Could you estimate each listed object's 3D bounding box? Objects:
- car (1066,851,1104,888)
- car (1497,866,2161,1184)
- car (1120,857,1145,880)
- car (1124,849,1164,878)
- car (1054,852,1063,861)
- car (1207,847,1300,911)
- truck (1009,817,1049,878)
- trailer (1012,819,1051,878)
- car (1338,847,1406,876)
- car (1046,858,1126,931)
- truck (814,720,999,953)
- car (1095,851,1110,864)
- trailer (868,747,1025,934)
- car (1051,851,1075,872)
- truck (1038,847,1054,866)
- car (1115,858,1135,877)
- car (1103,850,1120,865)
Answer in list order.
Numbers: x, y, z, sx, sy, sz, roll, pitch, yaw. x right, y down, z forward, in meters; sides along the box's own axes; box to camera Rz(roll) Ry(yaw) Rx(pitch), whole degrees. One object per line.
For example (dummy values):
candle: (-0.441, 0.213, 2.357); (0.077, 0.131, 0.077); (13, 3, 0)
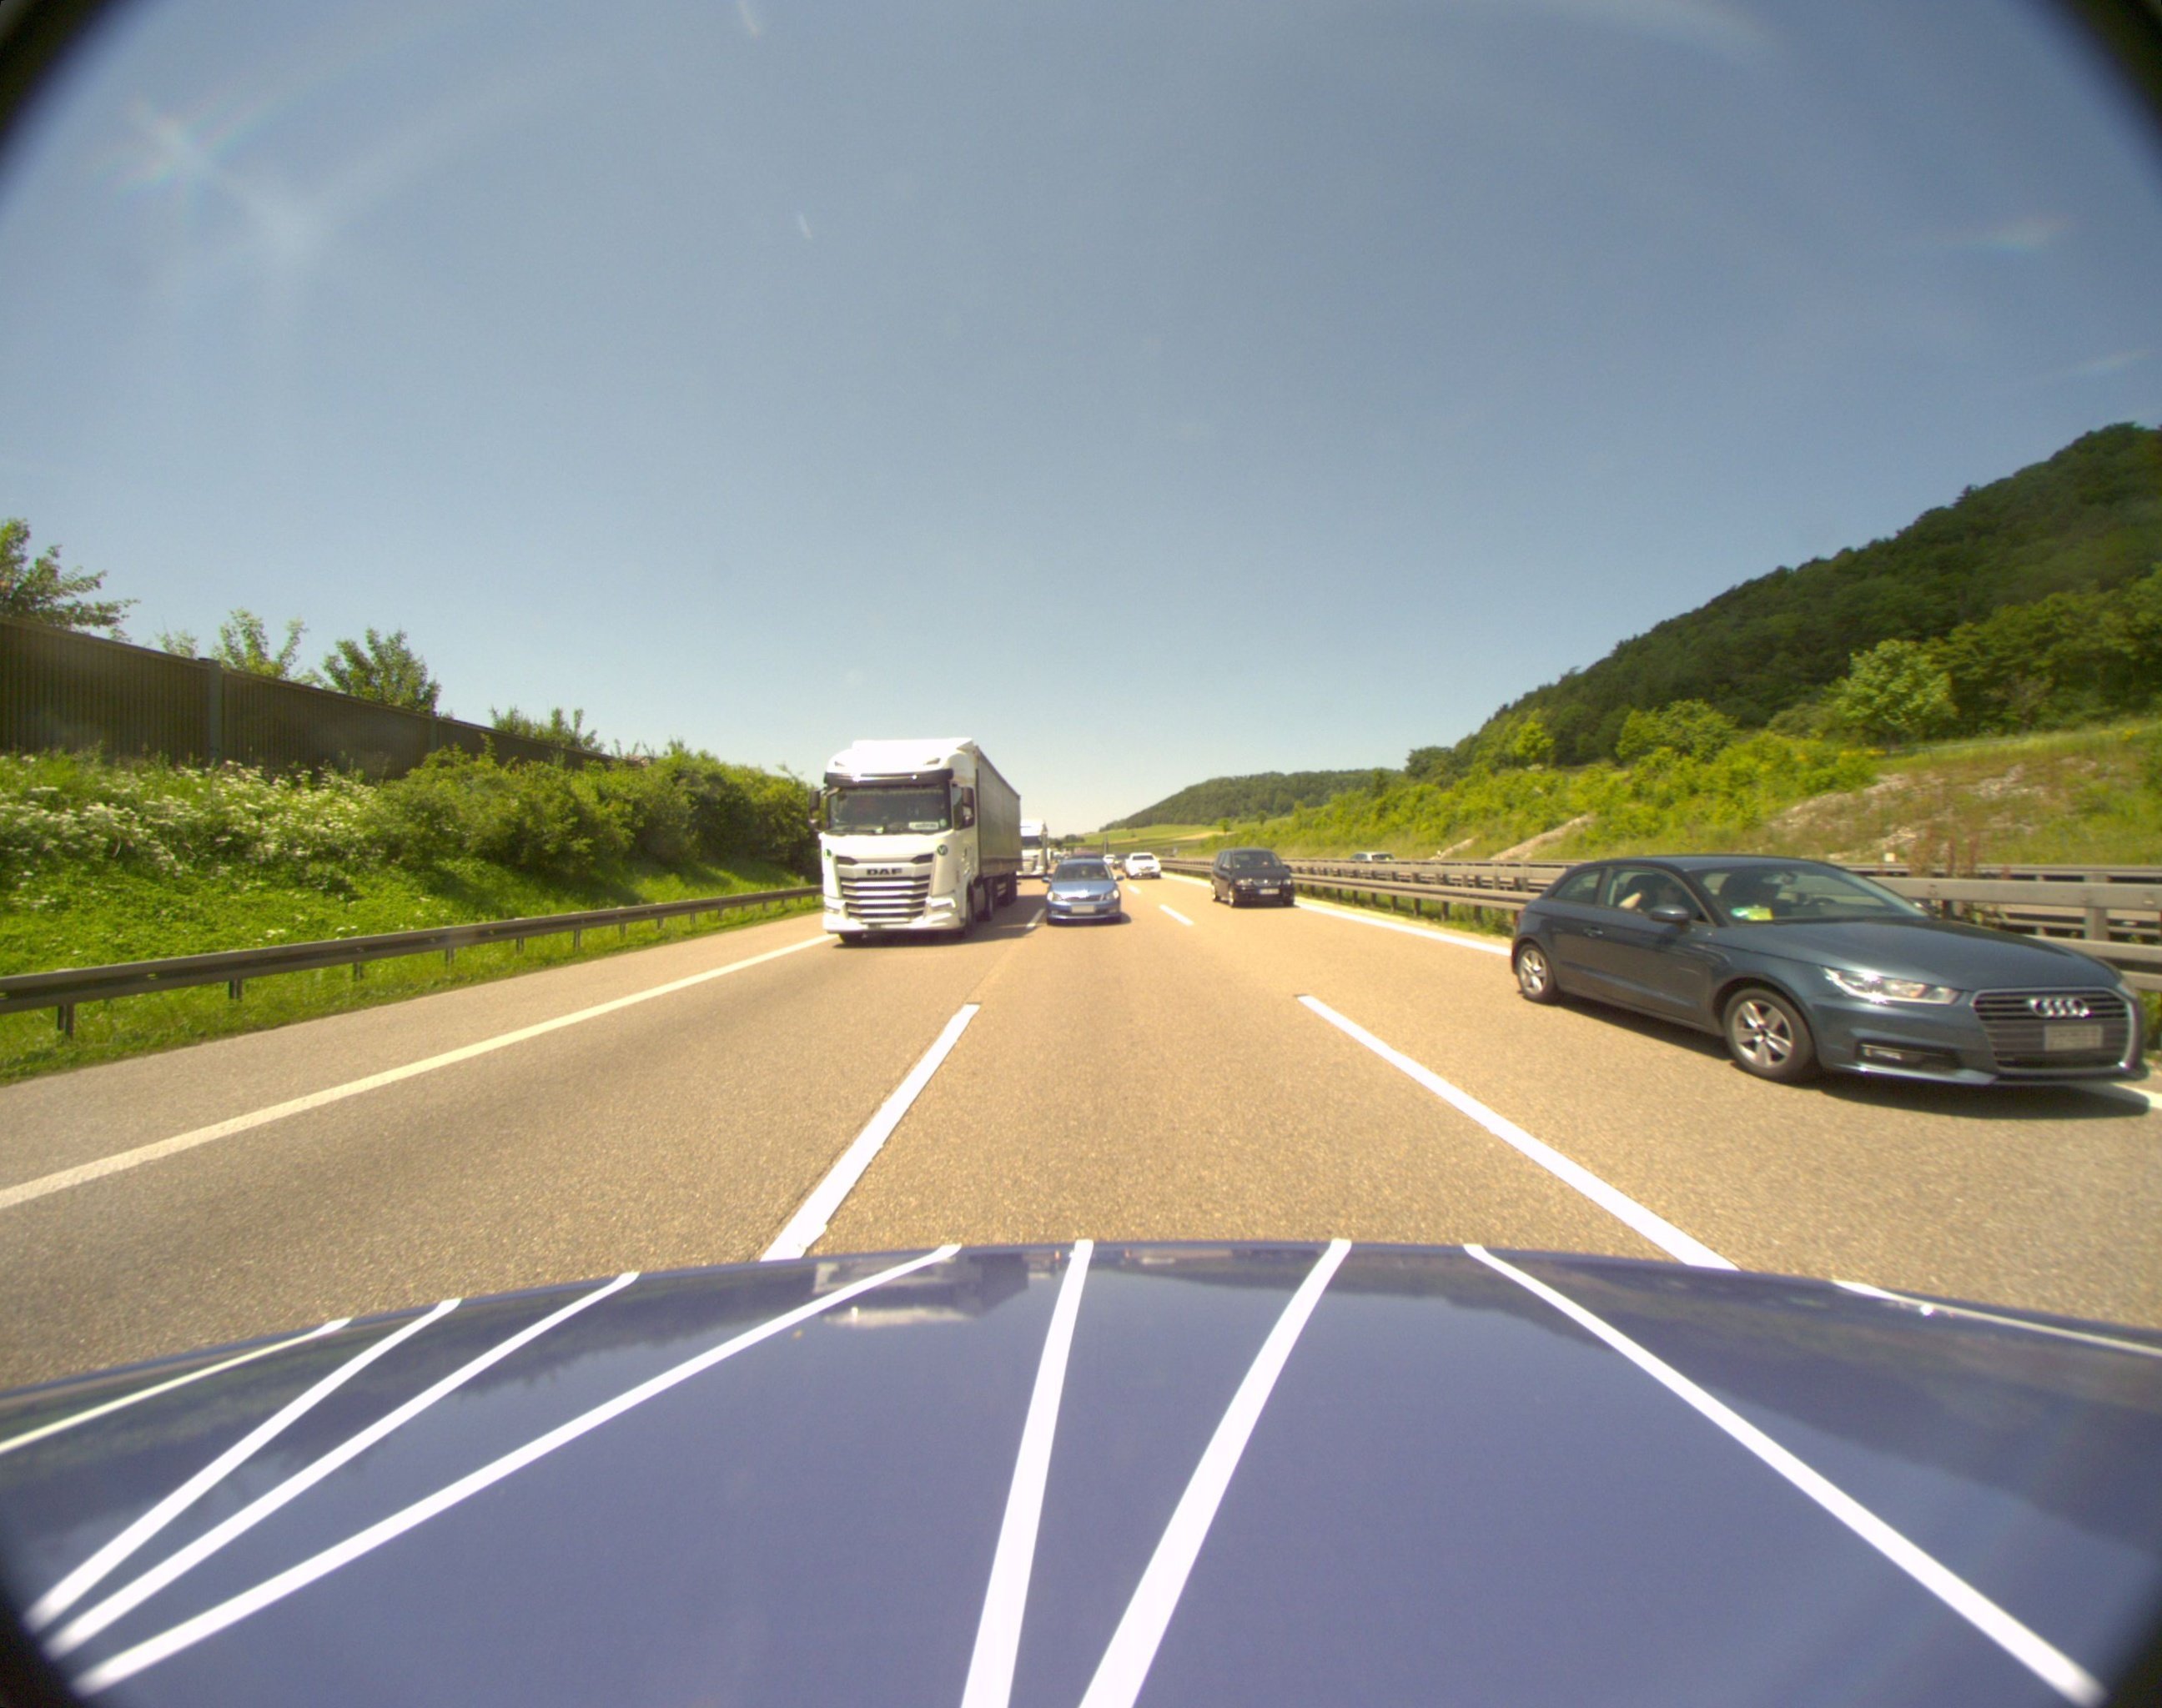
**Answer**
car: (0.256, 0.689, 37.315); (1.736, 1.674, 4.198); (-1, 0, 2)
car: (4.970, 0.838, 5.569); (1.693, 1.380, 4.000); (-1, 0, 1)
car: (4.345, 1.202, 64.419); (1.998, 1.692, 4.000); (-2, 1, 3)
car: (3.811, 0.548, 46.692); (1.999, 1.612, 3.999); (-2, 1, -1)
car: (-4.922, 0.557, 166.463); (1.999, 2.002, 3.999); (-2, 1, 0)
car: (4.830, 0.644, 21.883); (1.805, 1.625, 4.446); (-1, 0, 2)
truck: (-3.657, -0.481, 54.518); (2.531, 4.065, 6.078); (-2, 1, -2)
trailer: (-3.749, -0.466, 60.718); (2.544, 4.085, 13.623); (-2, 1, -2)
car: (15.779, 0.355, 41.431); (1.998, 1.447, 4.527); (-1, 0, 1)
car: (0.094, 0.868, 18.394); (1.660, 1.481, 4.652); (-1, 0, 0)
truck: (-3.323, -0.316, 16.226); (2.484, 3.954, 6.380); (-1, 0, -1)
car: (2.985, 0.505, 105.963); (1.998, 1.702, 4.000); (-2, 1, 3)
trailer: (-3.387, -0.328, 23.128); (2.484, 3.954, 13.652); (-1, 0, -1)
car: (-1.539, 0.606, 67.184); (1.999, 1.702, 3.999); (-2, 1, 0)
truck: (-4.434, 0.235, 96.044); (1.836, 2.267, 6.593); (-2, 1, -2)
car: (4.494, 1.373, 78.161); (1.998, 1.702, 4.000); (-2, 1, 3)
car: (3.824, 0.456, 95.623); (1.998, 1.702, 4.000); (-2, 1, 3)
